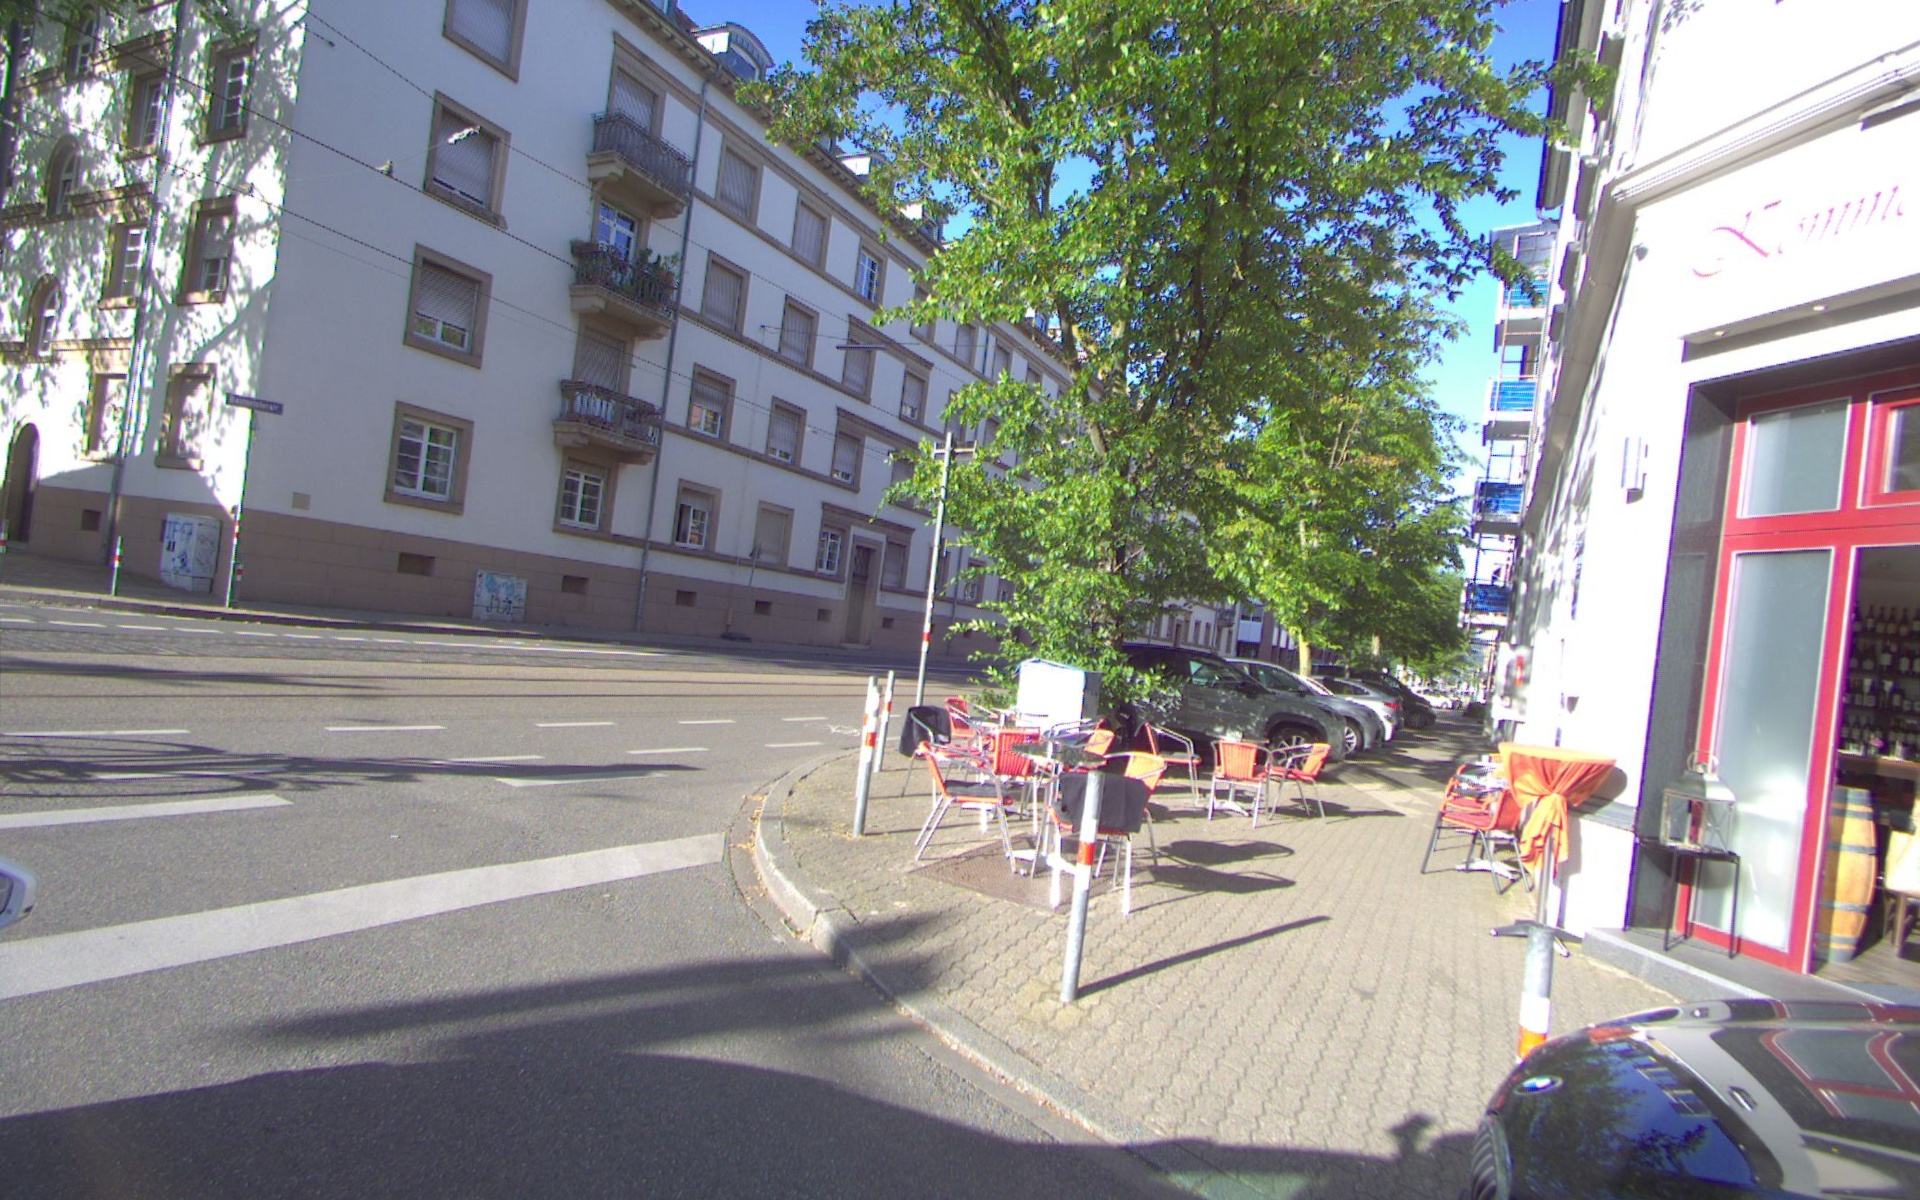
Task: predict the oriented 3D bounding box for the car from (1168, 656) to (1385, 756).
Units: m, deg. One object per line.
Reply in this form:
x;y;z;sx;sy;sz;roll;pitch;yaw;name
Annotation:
6.523;2.156;21.066;4.057;1.506;1.621;6;0;15;car

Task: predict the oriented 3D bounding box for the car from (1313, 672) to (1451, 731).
14.677;3.526;35.101;4.061;1.506;1.619;6;0;-5;car

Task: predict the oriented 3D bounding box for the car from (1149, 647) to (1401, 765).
5.604;1.867;18.357;4.056;1.575;1.621;6;0;9;car

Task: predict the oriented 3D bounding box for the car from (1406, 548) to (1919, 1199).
2.663;1.084;0.730;4.129;1.681;1.764;7;-2;33;car

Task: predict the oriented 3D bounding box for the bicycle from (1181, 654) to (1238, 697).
7.855;2.393;31.530;0.886;1.179;3.246;7;-1;28;bicycle

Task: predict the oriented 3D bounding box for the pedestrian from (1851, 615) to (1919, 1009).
4.984;1.044;4.624;0.839;1.821;0.861;7;0;-18;pedestrian

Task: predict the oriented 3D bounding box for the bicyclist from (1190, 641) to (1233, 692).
7.881;2.087;31.510;0.886;1.471;1.262;7;0;28;bicyclist

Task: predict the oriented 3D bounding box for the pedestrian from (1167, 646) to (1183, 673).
15.632;4.317;73.094;0.725;1.859;0.696;8;0;27;pedestrian

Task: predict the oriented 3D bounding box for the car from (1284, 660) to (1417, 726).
14.465;3.445;37.416;4.061;1.911;1.888;6;0;-5;car

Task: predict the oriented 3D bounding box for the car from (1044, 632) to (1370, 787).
3.292;1.449;14.017;4.057;1.575;1.621;6;0;4;car

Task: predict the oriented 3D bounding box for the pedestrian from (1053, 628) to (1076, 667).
5.359;2.450;51.730;0.725;1.859;0.696;8;0;27;pedestrian

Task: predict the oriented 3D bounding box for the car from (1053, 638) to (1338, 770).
3.708;1.633;16.223;4.061;1.575;1.619;6;0;-5;car

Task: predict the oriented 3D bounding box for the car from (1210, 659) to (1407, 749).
7.964;2.361;23.364;4.057;1.506;1.621;6;0;14;car

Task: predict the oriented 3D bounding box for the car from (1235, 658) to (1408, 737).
9.548;2.532;26.651;4.060;1.506;1.620;6;0;23;car
